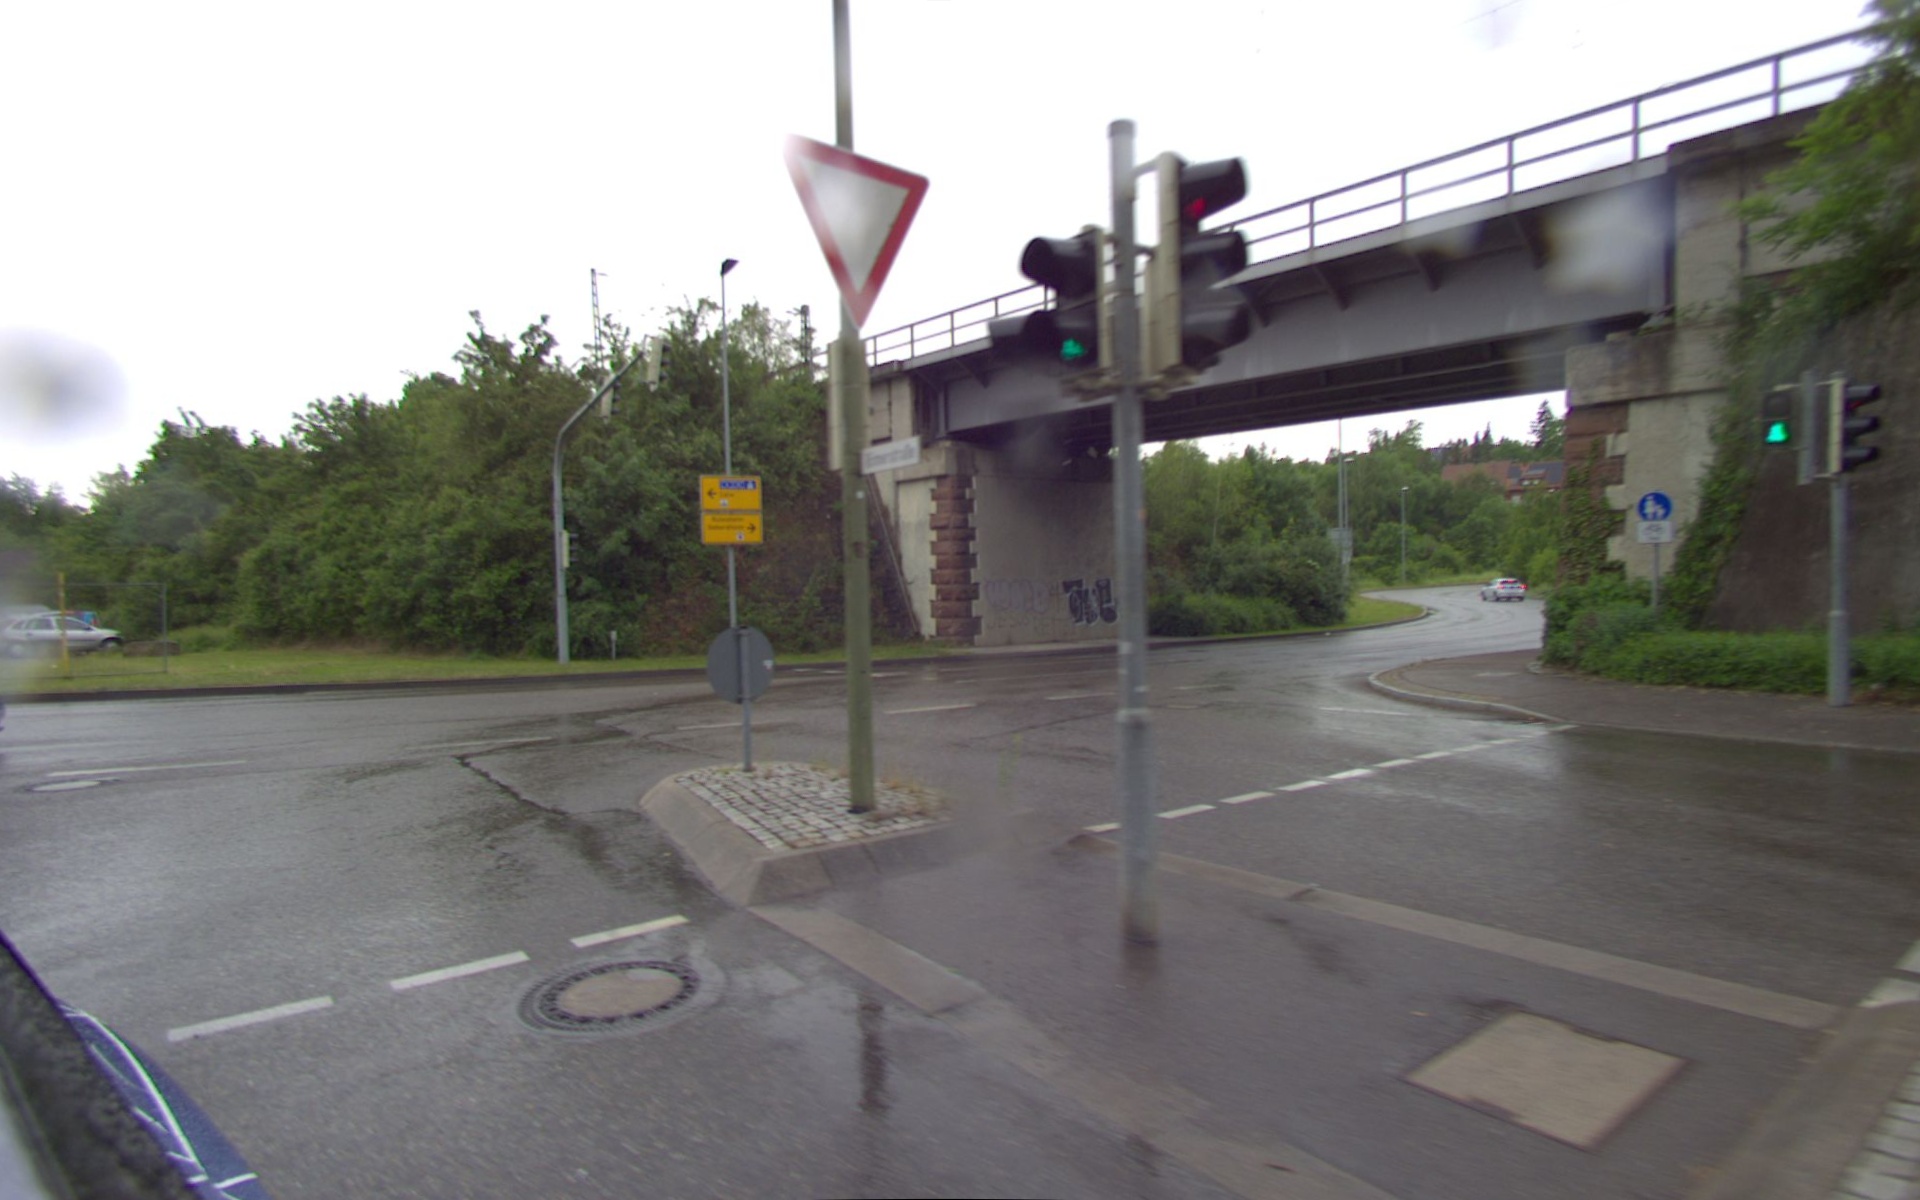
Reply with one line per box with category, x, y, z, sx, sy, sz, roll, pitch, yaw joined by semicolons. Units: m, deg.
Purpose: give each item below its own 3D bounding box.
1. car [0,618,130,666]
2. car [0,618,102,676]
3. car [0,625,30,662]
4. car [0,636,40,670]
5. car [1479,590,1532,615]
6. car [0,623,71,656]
car;-31.520;1.429;35.354;3.767;1.580;1.776;1;-2;-44
car;-33.698;1.672;36.420;4.172;1.995;1.906;1;-2;-44
car;-49.958;2.223;51.353;1.694;1.894;3.907;-2;-2;42
car;-47.937;2.629;49.801;1.694;1.640;3.827;-2;-2;42
car;35.923;0.200;66.718;1.979;1.574;3.984;-1;-1;12
car;-45.189;1.903;48.750;1.448;1.551;3.429;-2;-2;44
